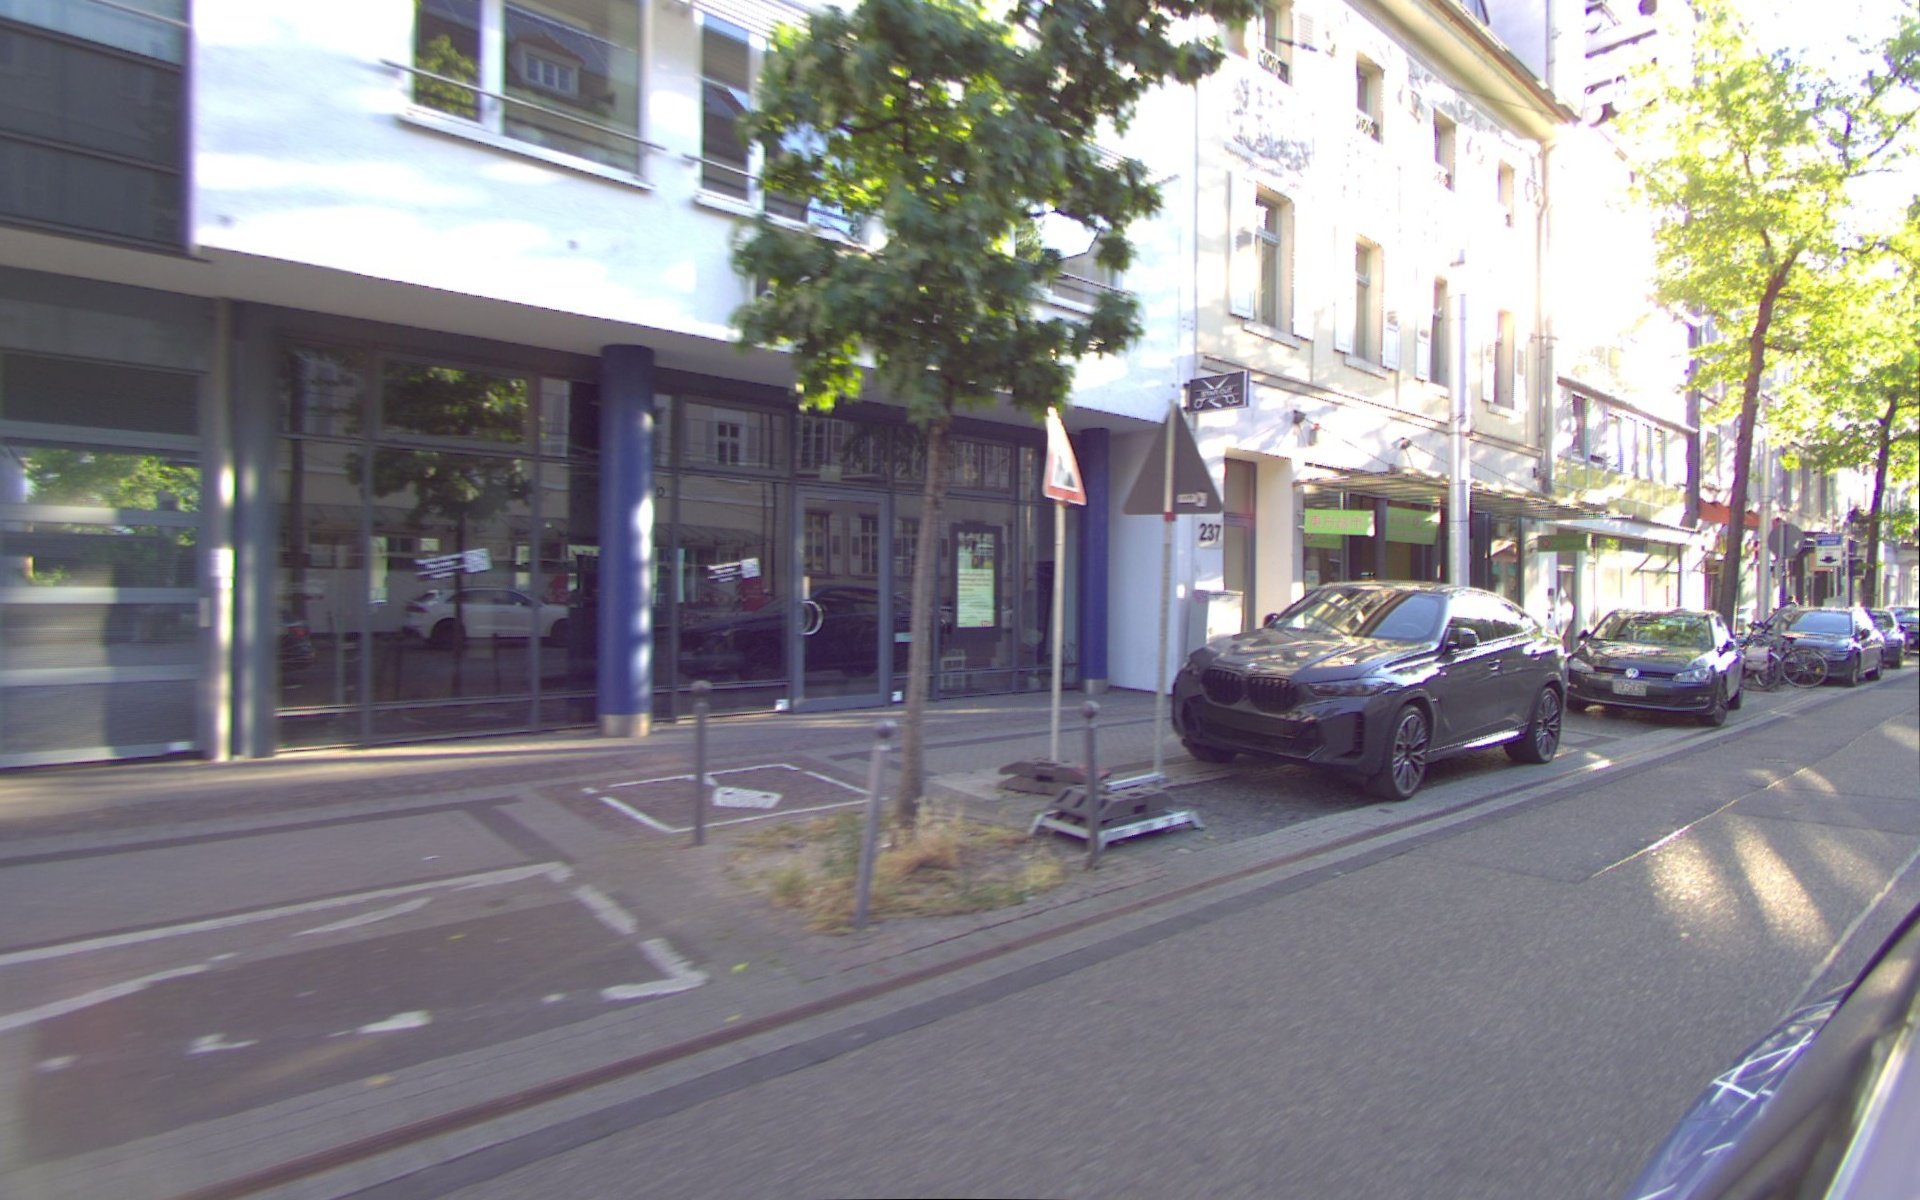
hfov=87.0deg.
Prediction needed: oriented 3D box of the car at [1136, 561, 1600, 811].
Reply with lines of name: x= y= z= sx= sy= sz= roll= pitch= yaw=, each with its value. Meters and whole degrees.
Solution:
car: x=3.972 y=0.568 z=9.409 sx=4.788 sy=1.709 sz=1.984 roll=0 pitch=3 yaw=-41

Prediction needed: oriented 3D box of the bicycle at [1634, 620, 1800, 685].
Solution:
bicycle: x=13.148 y=0.886 z=17.654 sx=0.603 sy=1.000 sz=2.249 roll=0 pitch=0 yaw=-38

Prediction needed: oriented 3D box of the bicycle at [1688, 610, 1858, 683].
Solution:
bicycle: x=14.780 y=0.810 z=18.475 sx=0.737 sy=1.203 sz=2.325 roll=0 pitch=0 yaw=-38

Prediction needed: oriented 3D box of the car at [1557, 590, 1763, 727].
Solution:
car: x=9.962 y=0.677 z=14.269 sx=1.864 sy=1.529 sz=4.181 roll=4 pitch=3 yaw=41

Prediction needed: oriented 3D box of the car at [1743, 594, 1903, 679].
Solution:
car: x=17.388 y=0.651 z=20.330 sx=4.210 sy=1.530 sz=1.769 roll=0 pitch=0 yaw=-40

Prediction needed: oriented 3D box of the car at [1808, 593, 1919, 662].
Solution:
car: x=23.508 y=0.646 z=26.047 sx=4.211 sy=1.529 sz=1.869 roll=0 pitch=3 yaw=-41

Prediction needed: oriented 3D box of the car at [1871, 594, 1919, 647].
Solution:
car: x=29.952 y=0.615 z=31.534 sx=3.915 sy=1.529 sz=1.798 roll=0 pitch=3 yaw=-40
